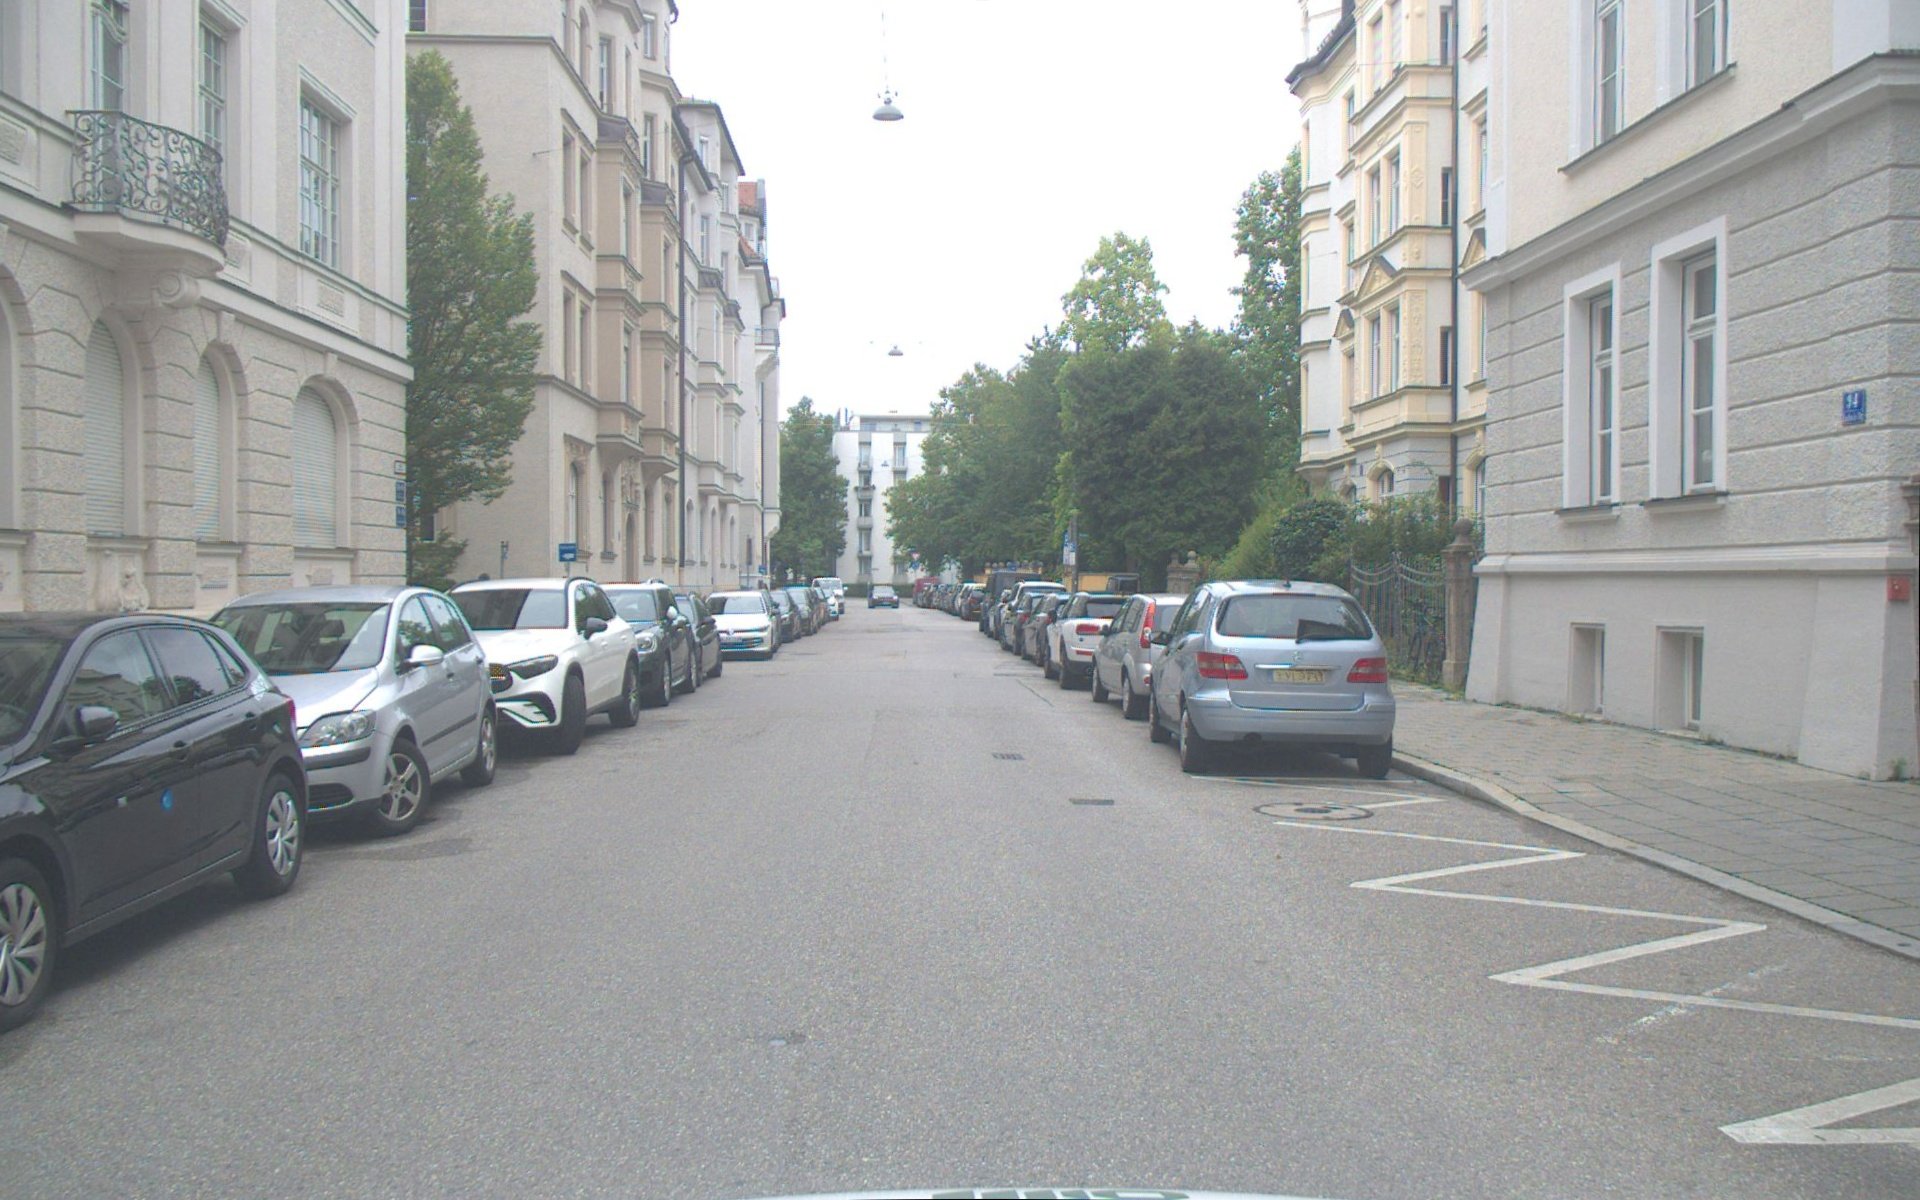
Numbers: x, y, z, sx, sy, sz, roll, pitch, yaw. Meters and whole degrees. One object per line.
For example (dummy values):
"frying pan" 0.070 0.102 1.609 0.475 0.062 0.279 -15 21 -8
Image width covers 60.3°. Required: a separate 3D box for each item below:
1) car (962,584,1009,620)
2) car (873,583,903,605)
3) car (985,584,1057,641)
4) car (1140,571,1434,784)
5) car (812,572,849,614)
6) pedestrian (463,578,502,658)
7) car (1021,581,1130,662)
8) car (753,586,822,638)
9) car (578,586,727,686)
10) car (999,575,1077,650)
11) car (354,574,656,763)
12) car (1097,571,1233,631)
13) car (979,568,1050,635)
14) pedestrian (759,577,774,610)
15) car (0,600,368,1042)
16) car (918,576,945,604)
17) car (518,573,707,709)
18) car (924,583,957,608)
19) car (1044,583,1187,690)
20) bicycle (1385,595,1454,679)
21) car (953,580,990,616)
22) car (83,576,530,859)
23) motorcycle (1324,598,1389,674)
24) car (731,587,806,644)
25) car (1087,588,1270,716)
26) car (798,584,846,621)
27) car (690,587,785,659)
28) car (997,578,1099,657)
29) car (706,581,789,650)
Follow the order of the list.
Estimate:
"car" 1.055 0.085 71.070 1.801 1.438 4.341 1 0 -2
"car" -4.756 -0.402 108.880 1.837 1.453 4.405 0 1 -4
"car" 1.736 0.342 48.196 1.689 1.545 3.628 2 0 -4
"car" 2.808 0.570 15.201 1.785 1.596 4.401 3 1 0
"car" -7.152 -0.406 91.722 1.849 2.164 4.703 -3 1 -4
"pedestrian" -9.966 0.361 34.549 0.660 1.654 0.630 0 0 -5
"car" 2.285 0.400 33.708 1.651 1.530 4.015 1 0 -4
"car" -5.434 0.357 52.538 1.799 1.460 4.244 -3 1 -1
"car" -4.863 0.509 26.686 1.751 1.437 4.365 0 1 -2
"car" 1.998 0.300 43.402 1.688 1.800 4.412 2 0 -1
"car" -4.399 0.559 16.766 1.876 1.647 4.570 0 1 -1
"car" 7.196 0.001 58.307 4.445 1.984 1.900 -1 2 -9
"car" 1.688 -0.004 53.123 1.911 1.988 4.664 1 1 -2
"pedestrian" -10.070 -0.326 86.033 0.777 1.708 0.699 0 0 -9
"car" -4.146 0.775 7.060 1.756 1.440 4.277 -3 1 -2
"car" -2.096 -0.753 121.491 1.799 1.960 4.005 2 1 0
"car" -4.564 0.468 22.332 1.799 1.647 4.243 0 1 -2
"car" -1.304 -0.298 109.708 1.803 1.545 3.943 1 0 -5
"car" 2.369 0.507 26.095 1.748 1.530 4.064 1 0 -2
"bicycle" 6.560 0.505 23.663 0.425 1.145 1.881 0 1 -1
"car" 0.538 -0.103 81.062 1.484 1.690 3.671 1 0 -4
"car" -4.344 0.659 11.749 1.748 1.568 4.253 -2 1 -5
"motorcycle" 6.202 0.545 25.942 0.594 1.132 1.965 0 0 1
"car" -5.395 0.404 47.039 1.797 1.459 4.551 -2 1 -3
"car" 2.644 0.589 20.700 1.719 1.431 3.450 1 0 -2
"car" -6.092 0.103 73.247 1.799 1.463 4.274 -3 1 -1
"car" -5.004 0.478 37.664 1.800 1.459 4.242 -2 1 -3
"car" 1.986 0.362 38.410 1.716 1.638 4.419 2 1 -5
"car" -5.371 0.344 42.221 1.735 1.544 4.382 -3 1 -4
